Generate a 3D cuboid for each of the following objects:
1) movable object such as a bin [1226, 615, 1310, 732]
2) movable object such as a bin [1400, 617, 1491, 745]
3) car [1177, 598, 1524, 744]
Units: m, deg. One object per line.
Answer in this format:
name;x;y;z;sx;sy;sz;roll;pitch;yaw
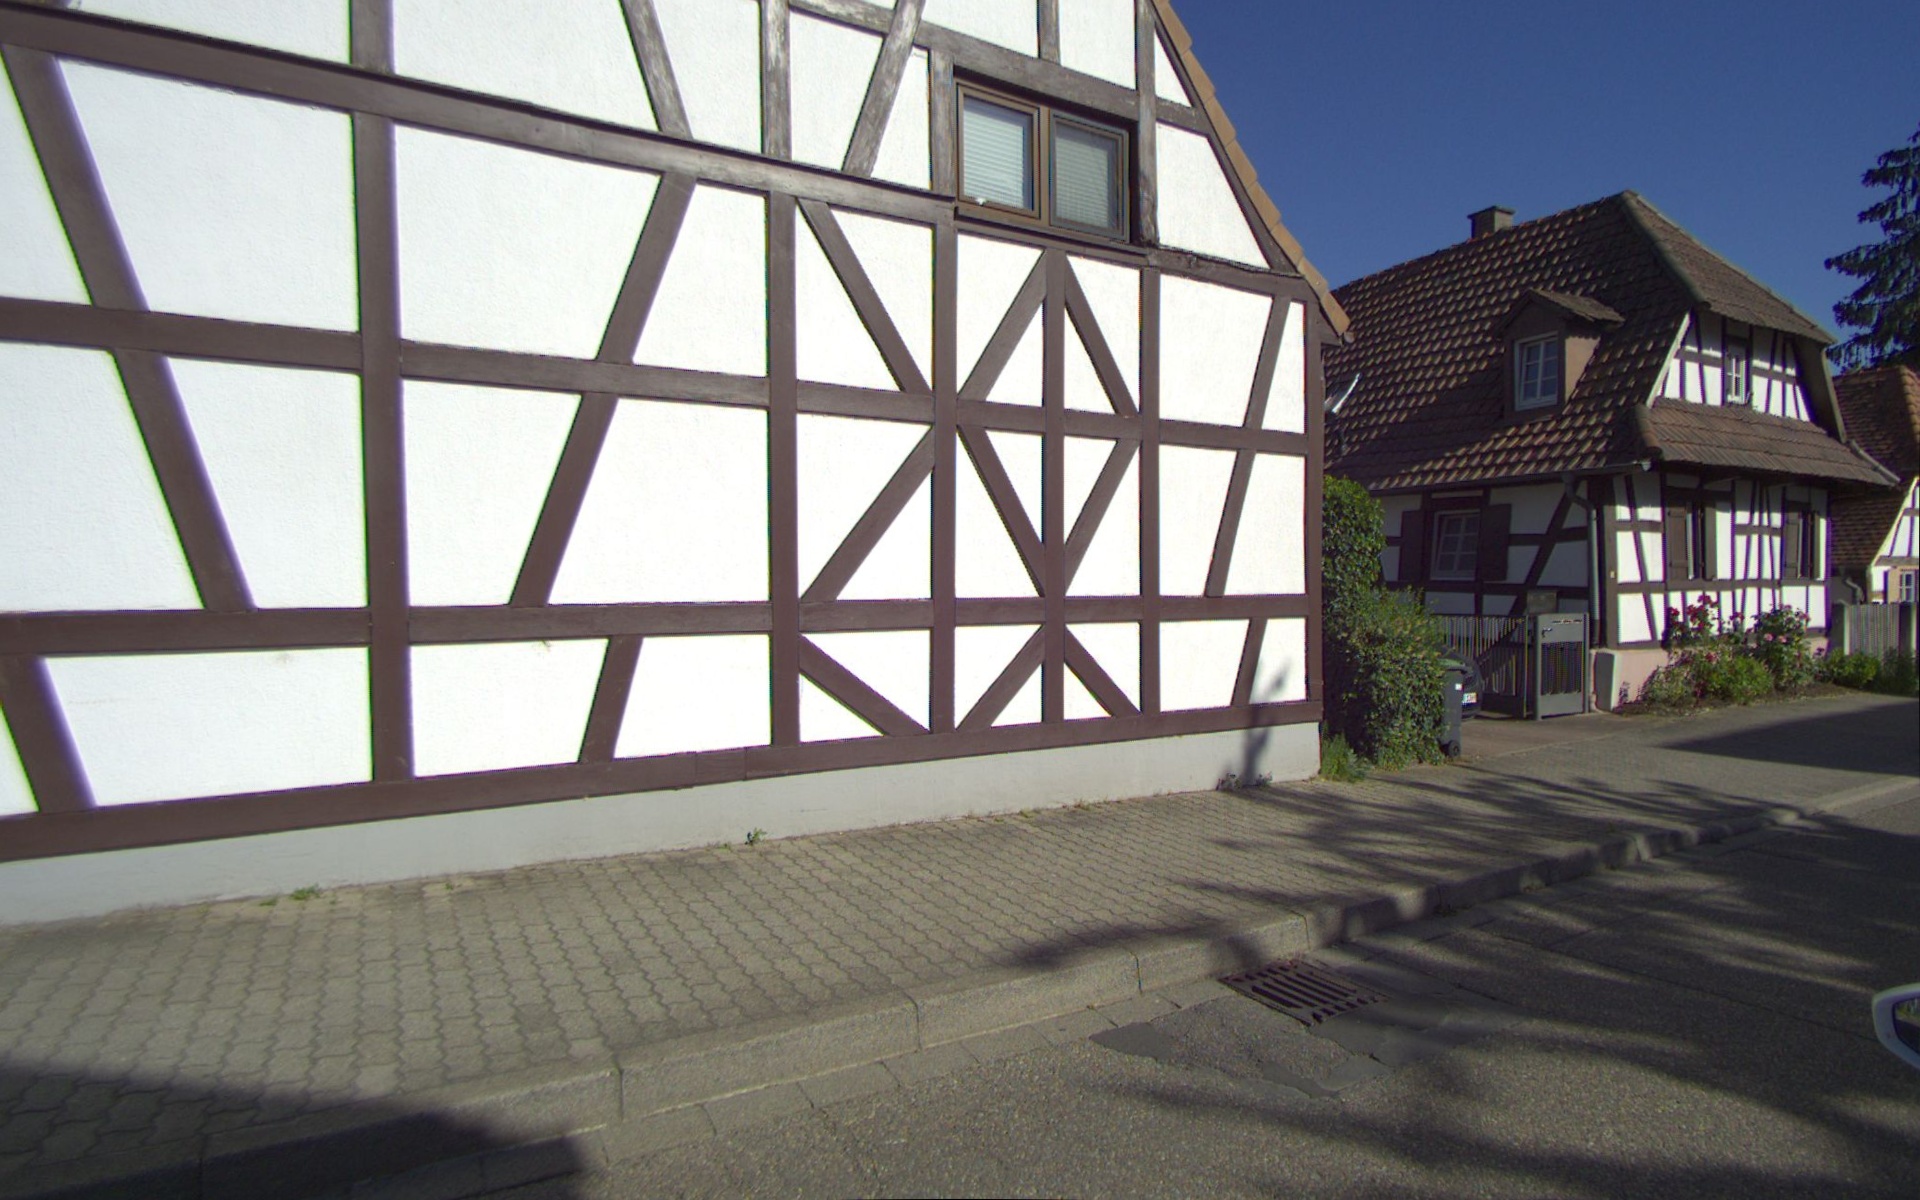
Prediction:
movable object such as a bin;2.892;0.672;9.436;0.638;1.054;0.397;1;0;-24
movable object such as a bin;4.594;0.746;9.502;0.660;1.155;0.474;1;0;-31
car;4.966;0.819;13.348;1.798;1.613;4.084;2;-1;-30
